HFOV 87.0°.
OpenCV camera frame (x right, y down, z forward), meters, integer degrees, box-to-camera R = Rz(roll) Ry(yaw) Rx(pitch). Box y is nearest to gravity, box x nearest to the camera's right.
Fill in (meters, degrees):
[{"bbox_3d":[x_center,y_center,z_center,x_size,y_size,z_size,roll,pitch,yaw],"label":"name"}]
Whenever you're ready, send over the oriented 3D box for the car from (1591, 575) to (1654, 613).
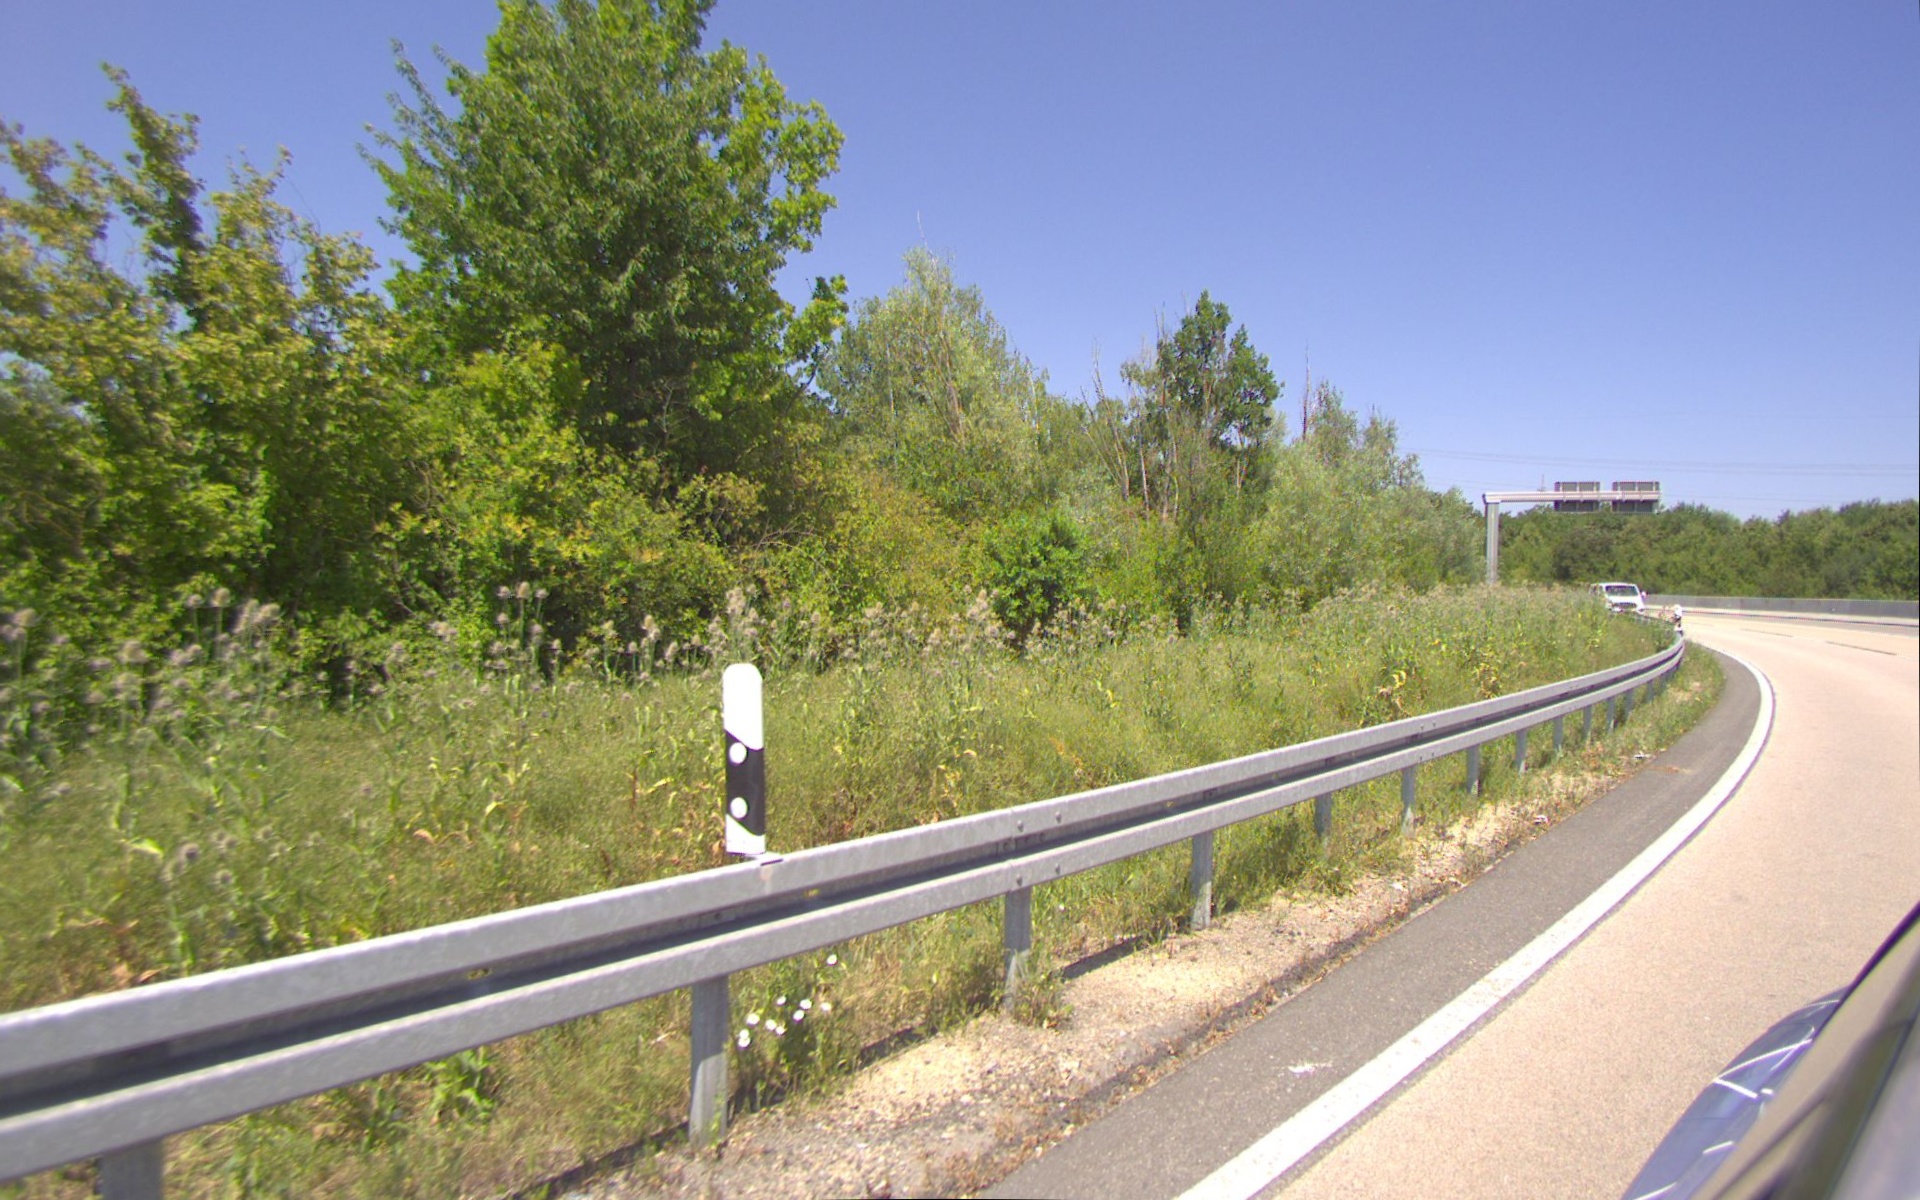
[{"bbox_3d":[36.847,-0.363,56.409,2.040,2.039,5.004,0,1,22],"label":"car"}]
